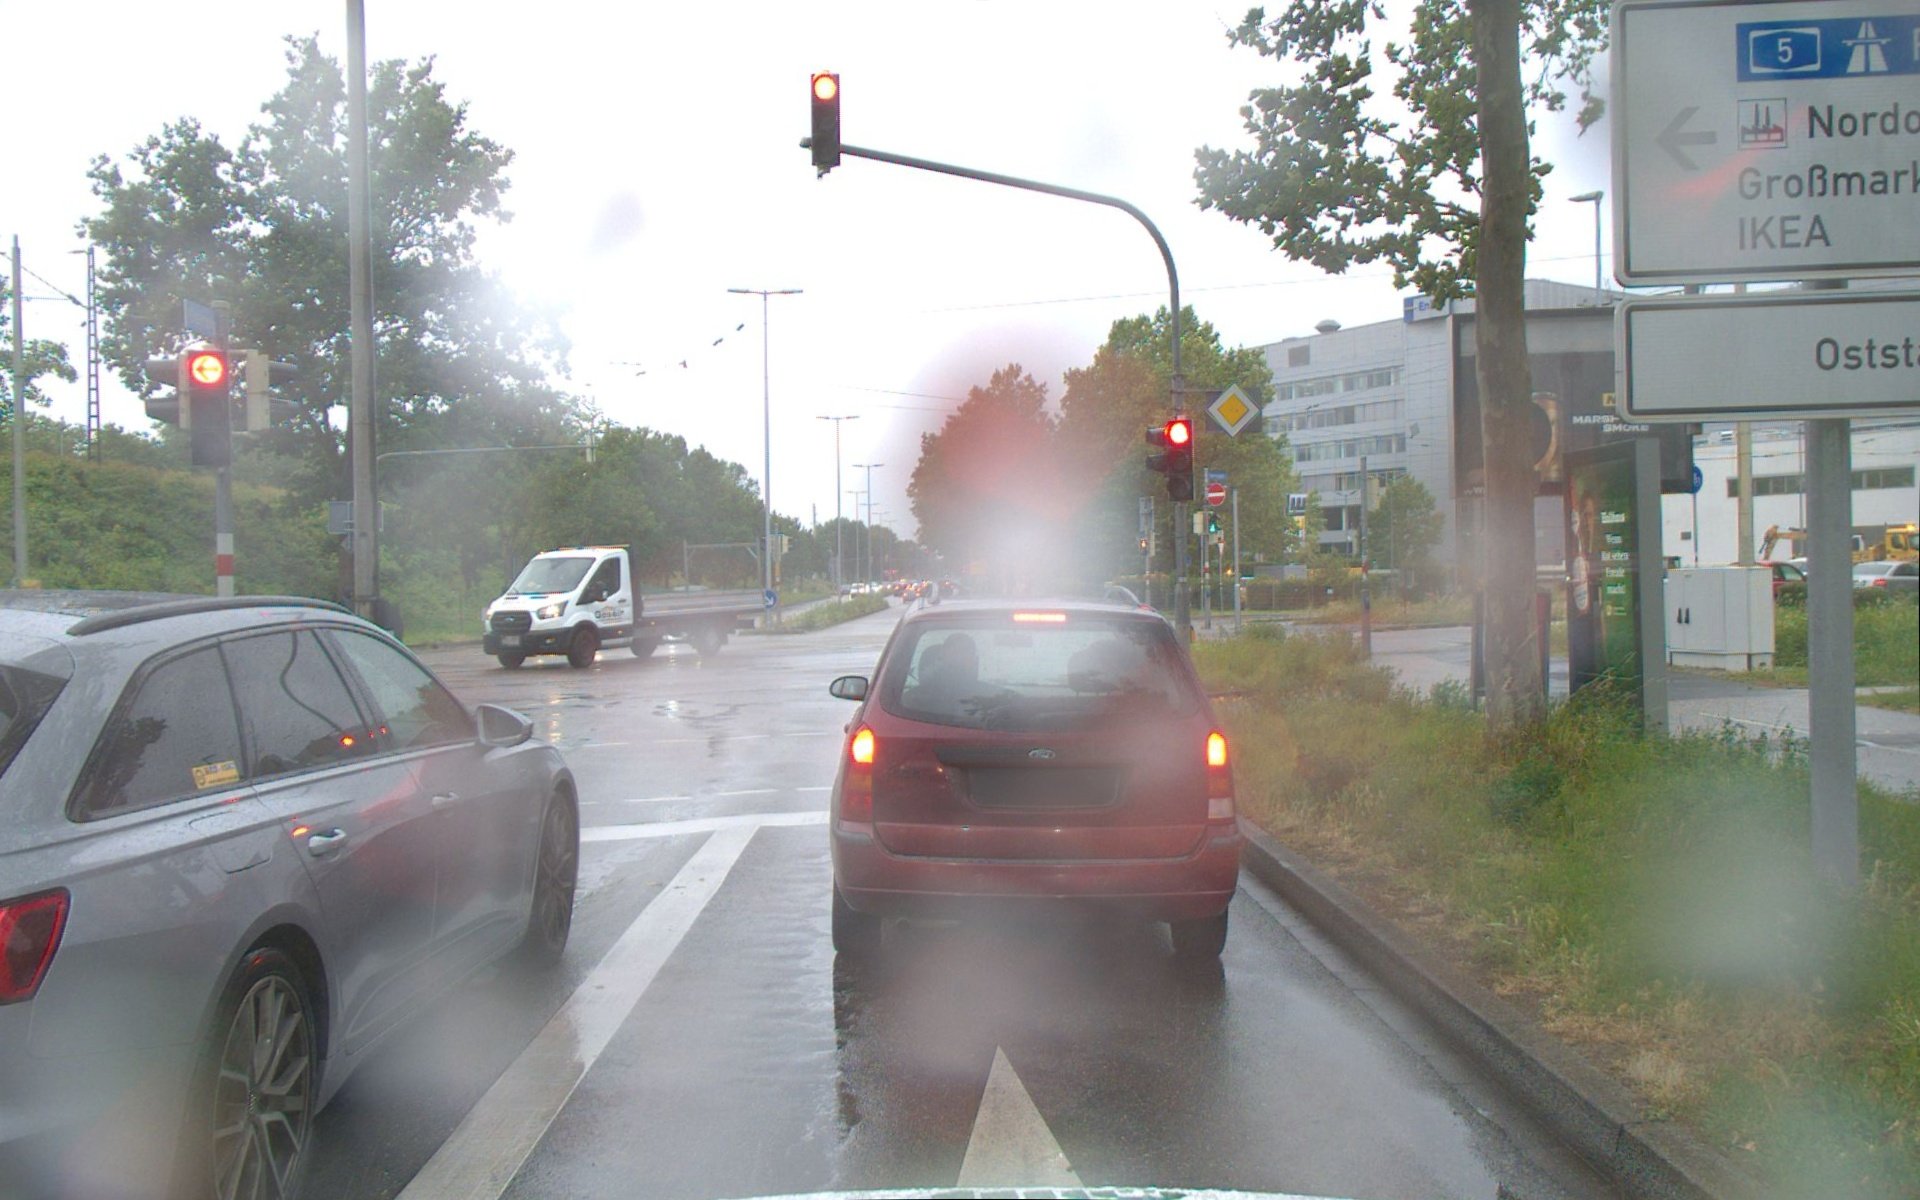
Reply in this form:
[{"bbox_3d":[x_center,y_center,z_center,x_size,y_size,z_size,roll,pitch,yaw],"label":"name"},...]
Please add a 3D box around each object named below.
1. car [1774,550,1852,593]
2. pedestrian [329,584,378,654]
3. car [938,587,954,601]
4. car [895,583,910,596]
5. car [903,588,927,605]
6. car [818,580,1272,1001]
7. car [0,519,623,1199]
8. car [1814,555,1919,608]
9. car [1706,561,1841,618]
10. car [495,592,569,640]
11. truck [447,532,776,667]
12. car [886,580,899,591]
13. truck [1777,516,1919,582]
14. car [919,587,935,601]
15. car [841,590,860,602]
[{"bbox_3d":[41.736,-1.393,80.917,3.960,2.049,1.972,-1,0,-39],"label":"car"},{"bbox_3d":[-16.655,0.503,45.443,1.083,1.879,1.127,-1,0,-13],"label":"pedestrian"},{"bbox_3d":[-1.578,-0.675,187.088,1.636,1.554,3.846,-1,0,1],"label":"car"},{"bbox_3d":[-7.040,-1.302,202.289,1.663,1.554,3.846,-1,0,1],"label":"car"},{"bbox_3d":[-4.290,-0.380,158.152,2.103,1.554,4.193,-1,0,1],"label":"car"},{"bbox_3d":[0.254,0.670,7.806,1.609,1.490,3.731,1,0,-2],"label":"car"},{"bbox_3d":[-2.300,0.642,4.877,1.733,1.601,4.819,1,0,-2],"label":"car"},{"bbox_3d":[28.194,-0.569,50.369,4.774,1.517,1.904,-1,0,-35],"label":"car"},{"bbox_3d":[22.416,-0.295,45.569,3.768,1.517,1.660,0,0,-33],"label":"car"},{"bbox_3d":[-14.167,0.489,54.893,1.605,1.478,3.785,-2,1,-3],"label":"car"},{"bbox_3d":[-6.765,-0.049,33.197,2.429,2.406,6.852,-1,0,31],"label":"truck"},{"bbox_3d":[-10.000,-2.186,244.826,1.663,1.554,3.846,-1,0,1],"label":"car"},{"bbox_3d":[52.798,-2.939,97.372,3.292,3.568,7.789,-2,0,-36],"label":"truck"},{"bbox_3d":[-3.856,-0.739,194.130,1.663,1.554,3.846,-1,0,0],"label":"car"},{"bbox_3d":[-14.756,-0.581,222.829,2.050,1.554,4.193,-1,0,2],"label":"car"}]
